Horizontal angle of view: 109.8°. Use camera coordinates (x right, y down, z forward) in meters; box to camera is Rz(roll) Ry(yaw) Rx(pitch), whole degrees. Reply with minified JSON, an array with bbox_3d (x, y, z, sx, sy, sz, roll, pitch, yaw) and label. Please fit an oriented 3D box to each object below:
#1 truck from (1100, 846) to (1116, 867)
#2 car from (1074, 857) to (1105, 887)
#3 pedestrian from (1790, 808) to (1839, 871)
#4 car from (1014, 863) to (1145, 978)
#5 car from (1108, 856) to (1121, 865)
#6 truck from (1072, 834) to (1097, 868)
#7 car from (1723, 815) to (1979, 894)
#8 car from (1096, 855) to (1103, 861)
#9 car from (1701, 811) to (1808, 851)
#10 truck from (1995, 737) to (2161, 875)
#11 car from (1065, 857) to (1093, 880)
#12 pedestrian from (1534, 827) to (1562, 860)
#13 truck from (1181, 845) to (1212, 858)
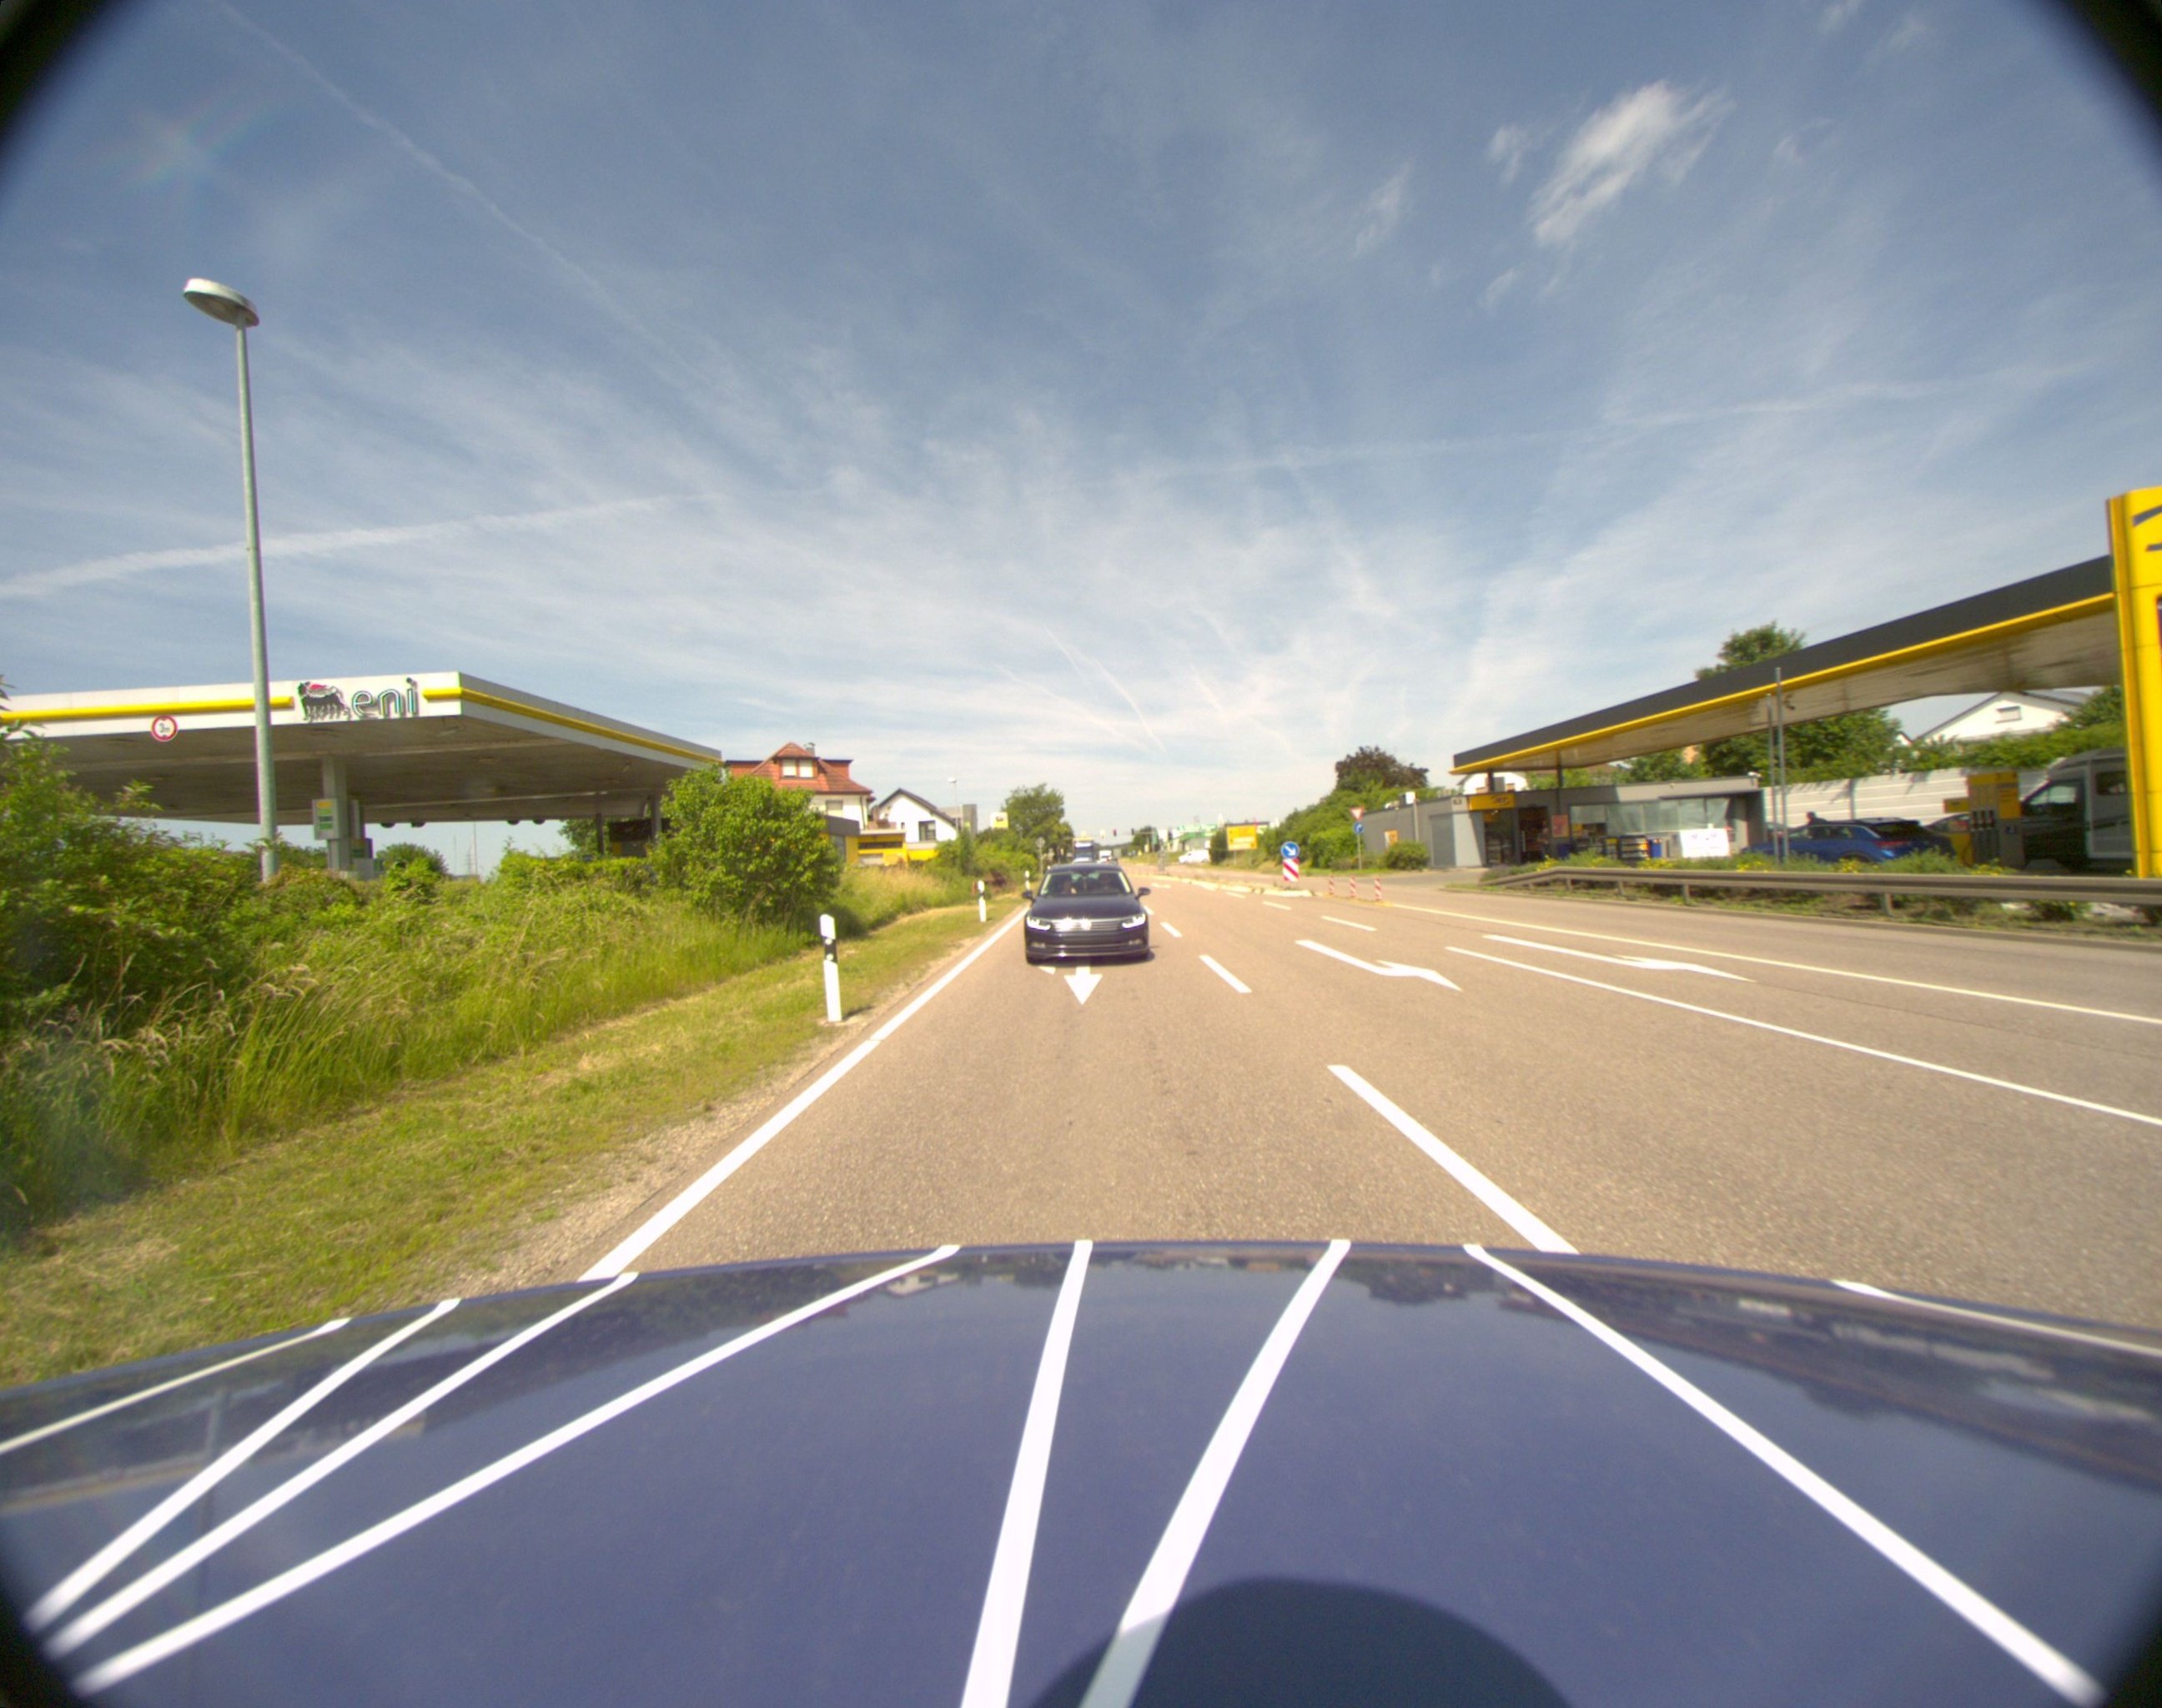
[{"bbox_3d":[5.223,0.455,149.530,2.855,3.999,12.917,-2,0,1],"label":"truck"},{"bbox_3d":[0.413,0.888,39.500,1.471,1.451,3.797,-2,0,0],"label":"car"},{"bbox_3d":[22.054,-0.435,22.854,0.798,1.827,0.640,-3,0,2],"label":"pedestrian"},{"bbox_3d":[0.034,0.953,12.991,1.756,1.493,4.925,-2,0,1],"label":"car"},{"bbox_3d":[4.745,0.874,108.357,1.786,1.210,4.000,-3,0,2],"label":"car"},{"bbox_3d":[0.563,-0.388,96.606,2.855,3.999,12.917,-2,0,1],"label":"truck"},{"bbox_3d":[19.013,0.025,19.108,1.999,1.696,4.264,-2,0,-2],"label":"car"},{"bbox_3d":[5.068,1.058,208.222,1.847,1.477,4.001,-3,0,4],"label":"car"},{"bbox_3d":[31.925,-1.079,36.173,1.619,1.724,3.987,-3,1,2],"label":"car"},{"bbox_3d":[23.795,-1.050,15.686,2.250,2.906,6.283,-2,1,0],"label":"truck"},{"bbox_3d":[-0.102,0.972,53.949,1.814,1.466,3.974,-3,0,2],"label":"car"},{"bbox_3d":[20.495,-0.471,33.353,0.913,1.419,0.495,-2,1,14],"label":"pedestrian"},{"bbox_3d":[19.919,-0.361,131.255,4.772,1.997,1.999,-3,0,-2],"label":"truck"}]
